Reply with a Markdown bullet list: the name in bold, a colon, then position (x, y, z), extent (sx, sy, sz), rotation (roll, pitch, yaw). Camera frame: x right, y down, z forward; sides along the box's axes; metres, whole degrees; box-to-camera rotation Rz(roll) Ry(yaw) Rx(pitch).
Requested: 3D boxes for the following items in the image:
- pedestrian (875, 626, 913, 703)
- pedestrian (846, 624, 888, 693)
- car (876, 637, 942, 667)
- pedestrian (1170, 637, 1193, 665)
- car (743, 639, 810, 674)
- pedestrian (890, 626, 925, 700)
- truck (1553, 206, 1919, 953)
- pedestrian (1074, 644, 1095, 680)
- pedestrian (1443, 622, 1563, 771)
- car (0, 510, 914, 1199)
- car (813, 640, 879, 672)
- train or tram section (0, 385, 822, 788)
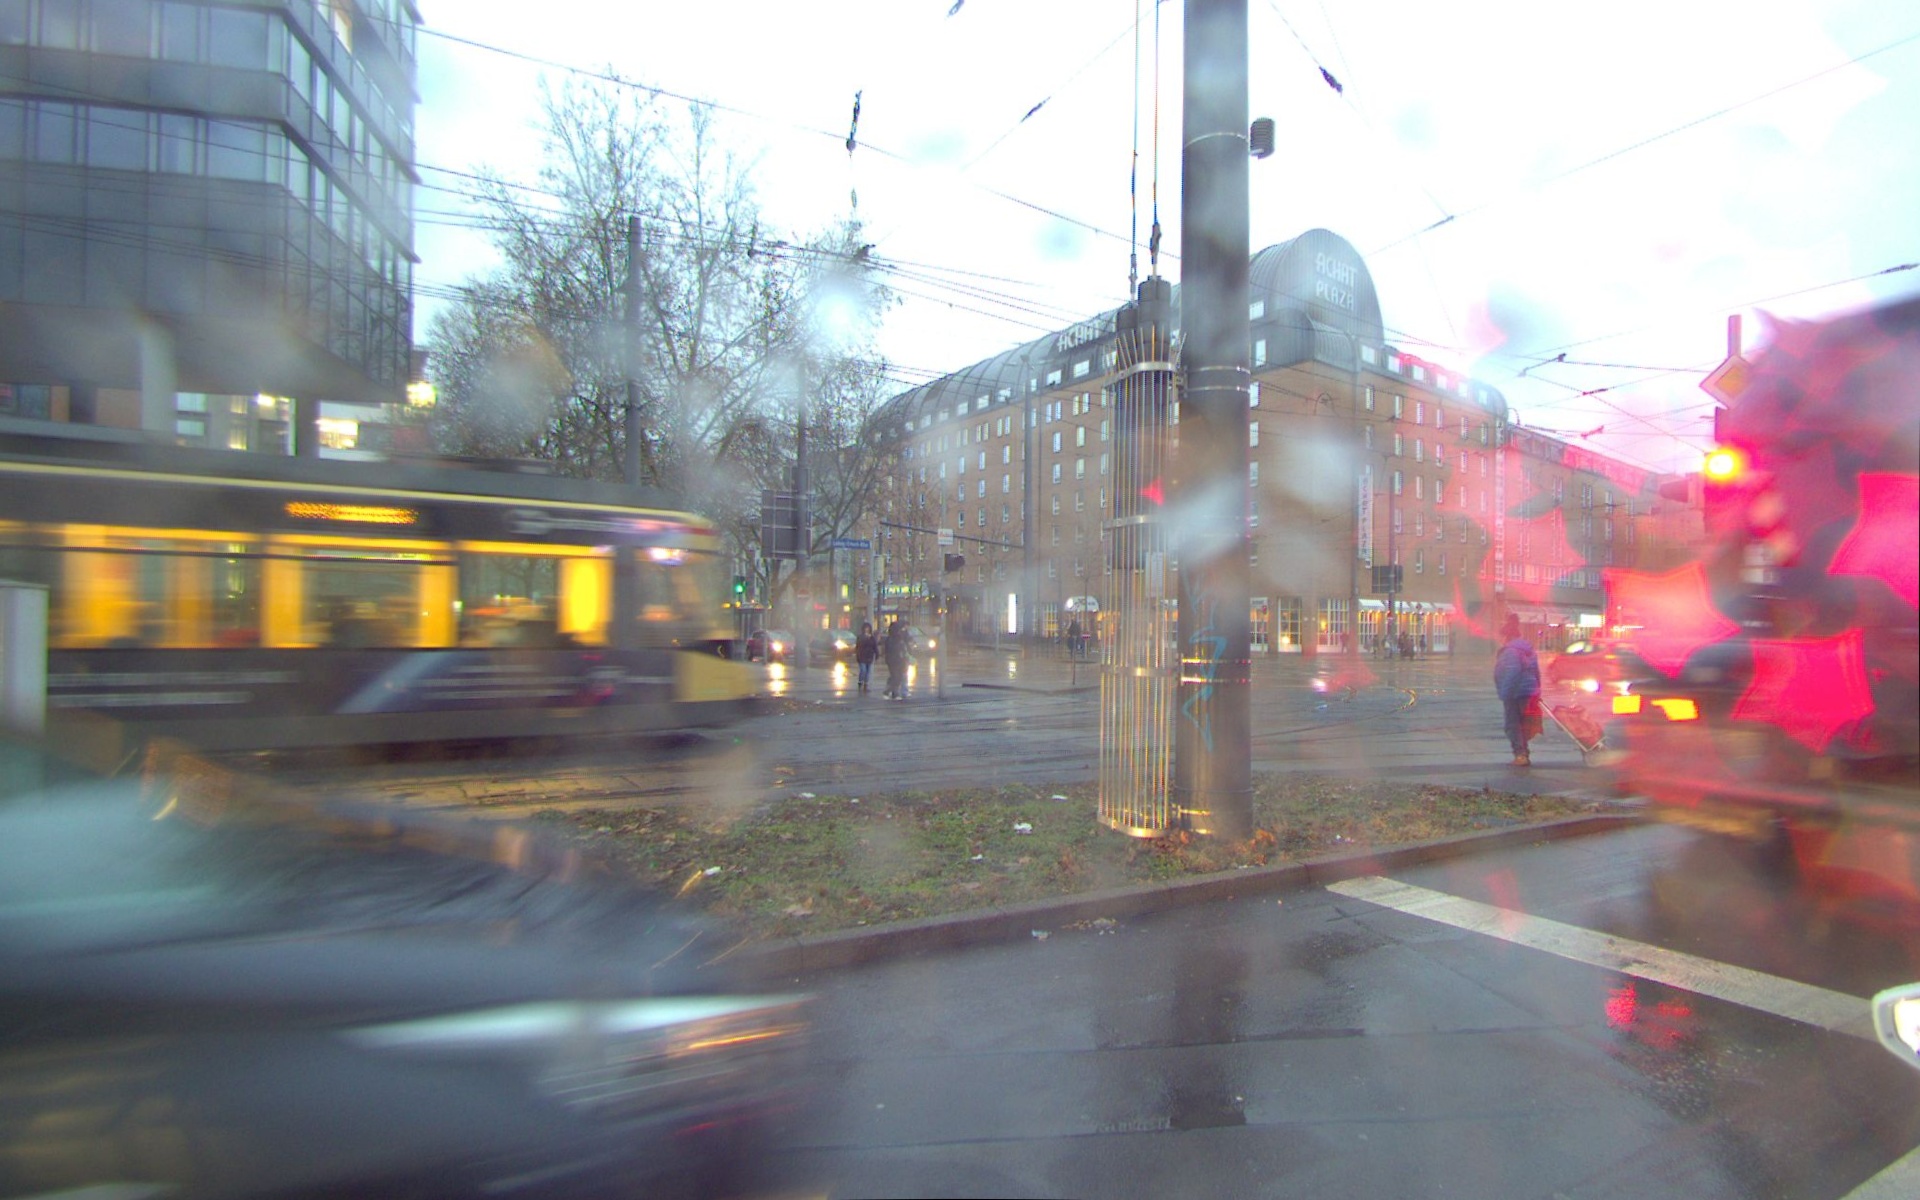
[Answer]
- **pedestrian**: position (-1.348, 1.302, 20.423), extent (0.635, 1.532, 0.560), rotation (1, -1, -18)
- **pedestrian**: position (-2.091, 1.300, 22.682), extent (0.729, 1.519, 0.672), rotation (1, -1, -29)
- **car**: position (-2.701, 2.695, 52.579), extent (1.975, 1.483, 3.970), rotation (1, -2, -28)
- **pedestrian**: position (13.900, 3.212, 63.093), extent (1.149, 1.700, 0.894), rotation (-1, -2, 42)
- **car**: position (-8.742, 2.642, 47.549), extent (1.975, 1.483, 3.970), rotation (1, -2, -28)
- **pedestrian**: position (-1.123, 1.334, 21.429), extent (0.604, 1.532, 0.519), rotation (1, -1, -18)
- **truck**: position (7.714, -0.023, 7.209), extent (7.441, 3.681, 2.825), rotation (1, -1, -31)
- **pedestrian**: position (7.186, 3.590, 58.050), extent (1.142, 2.037, 0.899), rotation (0, -2, 11)
- **pedestrian**: position (6.128, 1.072, 11.388), extent (1.016, 1.621, 0.716), rotation (-1, -3, 13)
- **car**: position (-2.156, 0.682, 1.455), extent (3.895, 1.543, 1.622), rotation (0, -1, -30)
- **car**: position (-5.806, 2.796, 50.632), extent (1.975, 1.483, 3.970), rotation (1, -2, -28)
- **train or tram section**: position (-10.649, -0.126, 9.612), extent (18.998, 3.662, 2.850), rotation (2, -2, -32)
